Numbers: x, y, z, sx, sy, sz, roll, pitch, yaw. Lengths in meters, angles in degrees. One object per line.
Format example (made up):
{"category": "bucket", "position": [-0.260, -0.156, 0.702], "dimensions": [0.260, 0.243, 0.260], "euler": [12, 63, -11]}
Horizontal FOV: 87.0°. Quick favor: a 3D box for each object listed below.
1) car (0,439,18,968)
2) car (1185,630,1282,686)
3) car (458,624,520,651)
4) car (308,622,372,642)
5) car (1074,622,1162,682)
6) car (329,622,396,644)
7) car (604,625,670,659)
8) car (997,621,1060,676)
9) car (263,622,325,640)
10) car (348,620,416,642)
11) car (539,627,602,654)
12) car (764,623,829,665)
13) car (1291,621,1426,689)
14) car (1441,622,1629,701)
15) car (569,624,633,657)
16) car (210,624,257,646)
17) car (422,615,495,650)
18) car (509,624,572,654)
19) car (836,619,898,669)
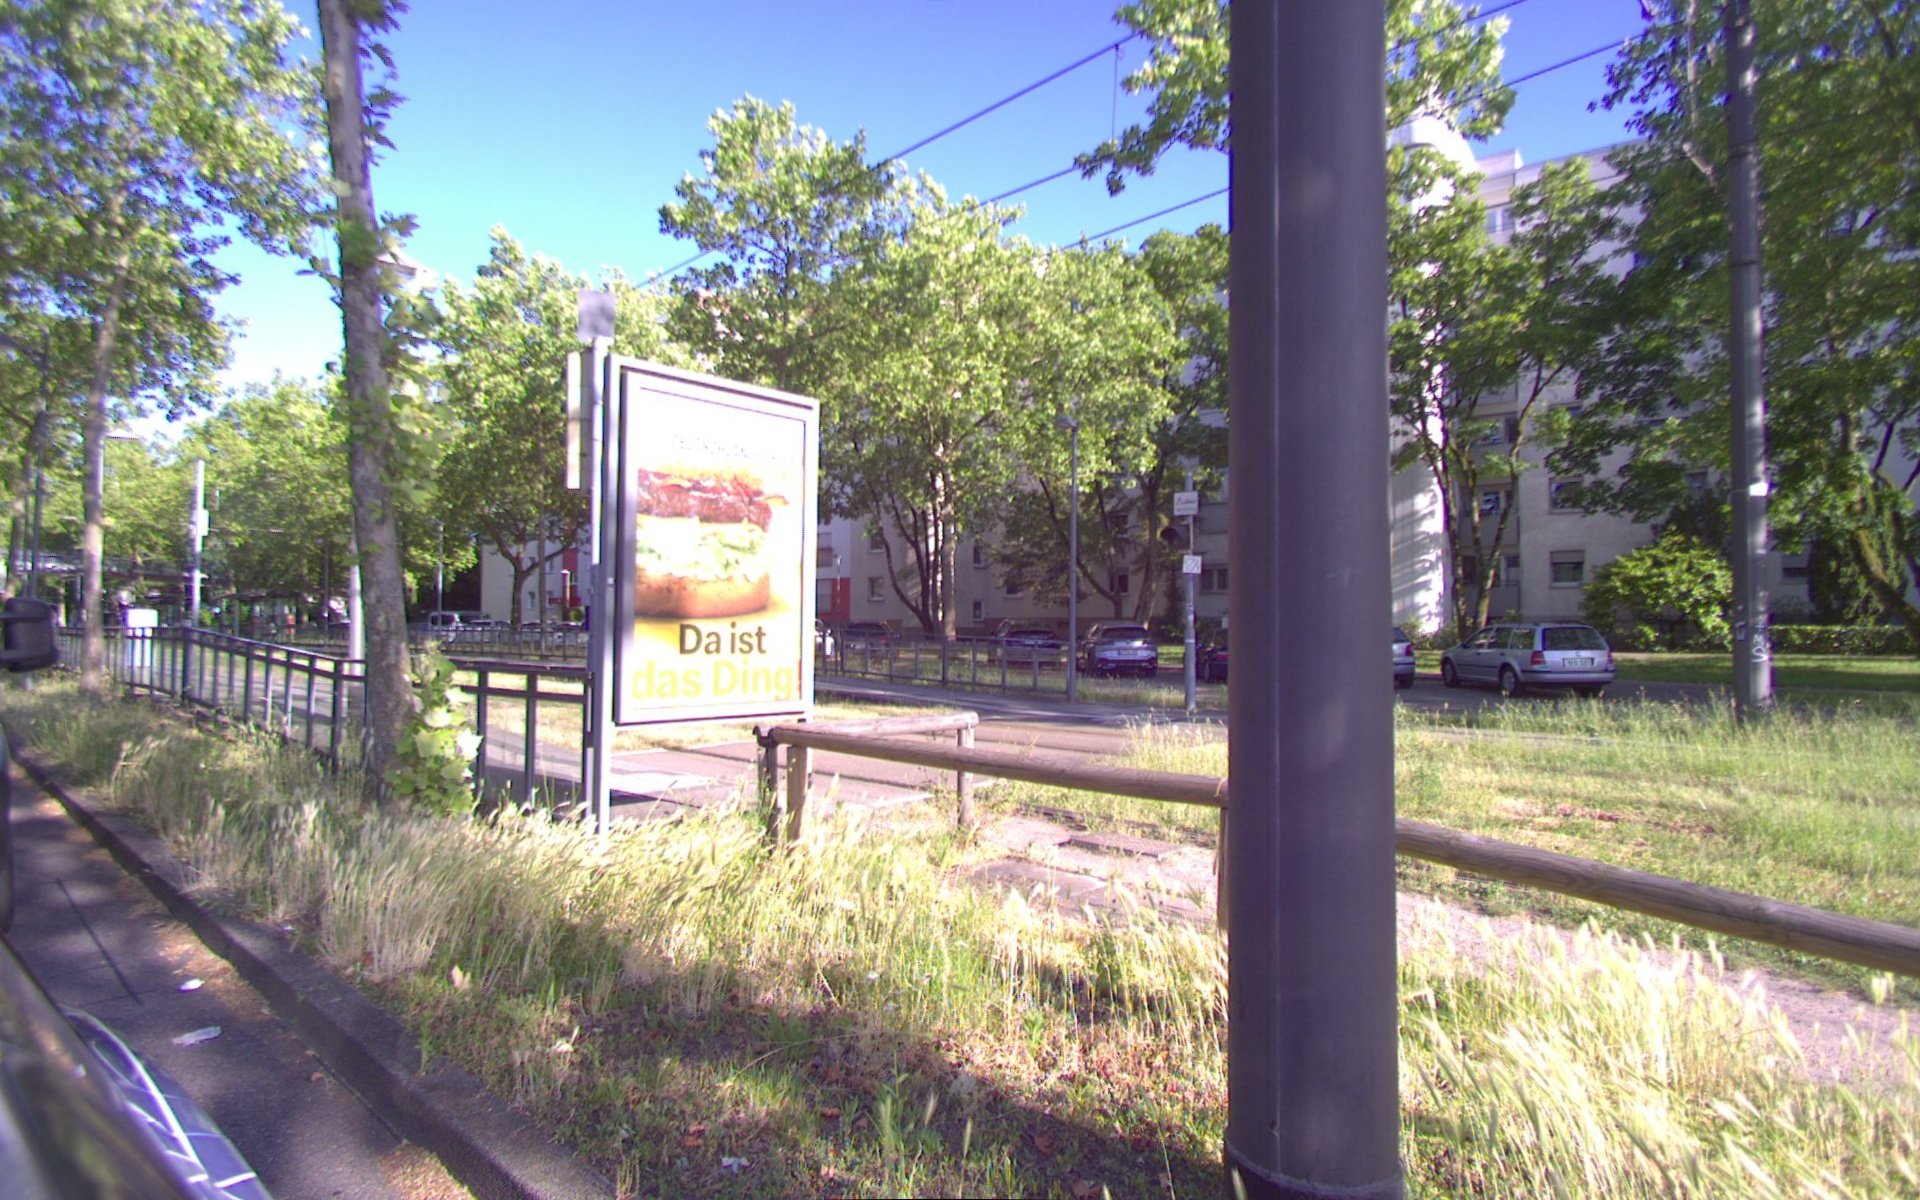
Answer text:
{"category": "car", "position": [-6.410, 0.449, 5.041], "dimensions": [5.111, 2.131, 2.014], "euler": [-1, -1, 41]}
{"category": "car", "position": [6.727, 1.401, 25.209], "dimensions": [1.602, 1.256, 3.677], "euler": [0, -1, 4]}
{"category": "car", "position": [-25.800, 2.033, 55.521], "dimensions": [1.627, 1.407, 3.680], "euler": [0, -1, 1]}
{"category": "car", "position": [-44.647, 2.278, 72.986], "dimensions": [1.898, 1.386, 4.365], "euler": [0, -1, 1]}
{"category": "car", "position": [4.204, 1.346, 27.494], "dimensions": [1.894, 1.507, 3.680], "euler": [0, -1, 2]}
{"category": "car", "position": [-40.285, 2.201, 68.393], "dimensions": [1.898, 1.386, 4.365], "euler": [0, -1, 1]}
{"category": "car", "position": [-14.085, 1.818, 44.282], "dimensions": [1.627, 1.403, 3.679], "euler": [0, -1, 2]}
{"category": "car", "position": [1.931, 1.367, 29.448], "dimensions": [1.664, 1.482, 3.680], "euler": [0, -1, 1]}
{"category": "car", "position": [-52.148, 2.400, 79.366], "dimensions": [1.898, 1.386, 4.365], "euler": [0, -1, 1]}
{"category": "car", "position": [-37.832, 2.031, 66.406], "dimensions": [1.898, 1.386, 4.365], "euler": [0, -1, 1]}
{"category": "car", "position": [-19.048, 1.979, 49.668], "dimensions": [1.627, 1.251, 3.680], "euler": [0, -1, 1]}
{"category": "car", "position": [-5.911, 1.571, 36.920], "dimensions": [1.664, 1.444, 3.679], "euler": [0, -1, 2]}
{"category": "car", "position": [9.151, 1.220, 23.529], "dimensions": [1.679, 1.444, 3.681], "euler": [0, -1, 1]}
{"category": "car", "position": [11.546, 1.177, 20.630], "dimensions": [1.707, 1.444, 3.681], "euler": [0, -1, 1]}
{"category": "car", "position": [-16.684, 1.841, 47.138], "dimensions": [1.627, 1.460, 3.680], "euler": [0, -1, 1]}
{"category": "car", "position": [-48.892, 2.321, 68.097], "dimensions": [3.756, 1.431, 1.802], "euler": [-1, -2, 41]}
{"category": "car", "position": [-28.329, 1.824, 57.330], "dimensions": [1.898, 1.898, 4.365], "euler": [0, -1, 1]}
{"category": "car", "position": [-21.126, 1.957, 51.136], "dimensions": [1.627, 1.460, 3.680], "euler": [0, -1, 1]}
{"category": "car", "position": [-3.110, 1.458, 34.470], "dimensions": [1.664, 1.579, 3.679], "euler": [0, -1, 2]}
